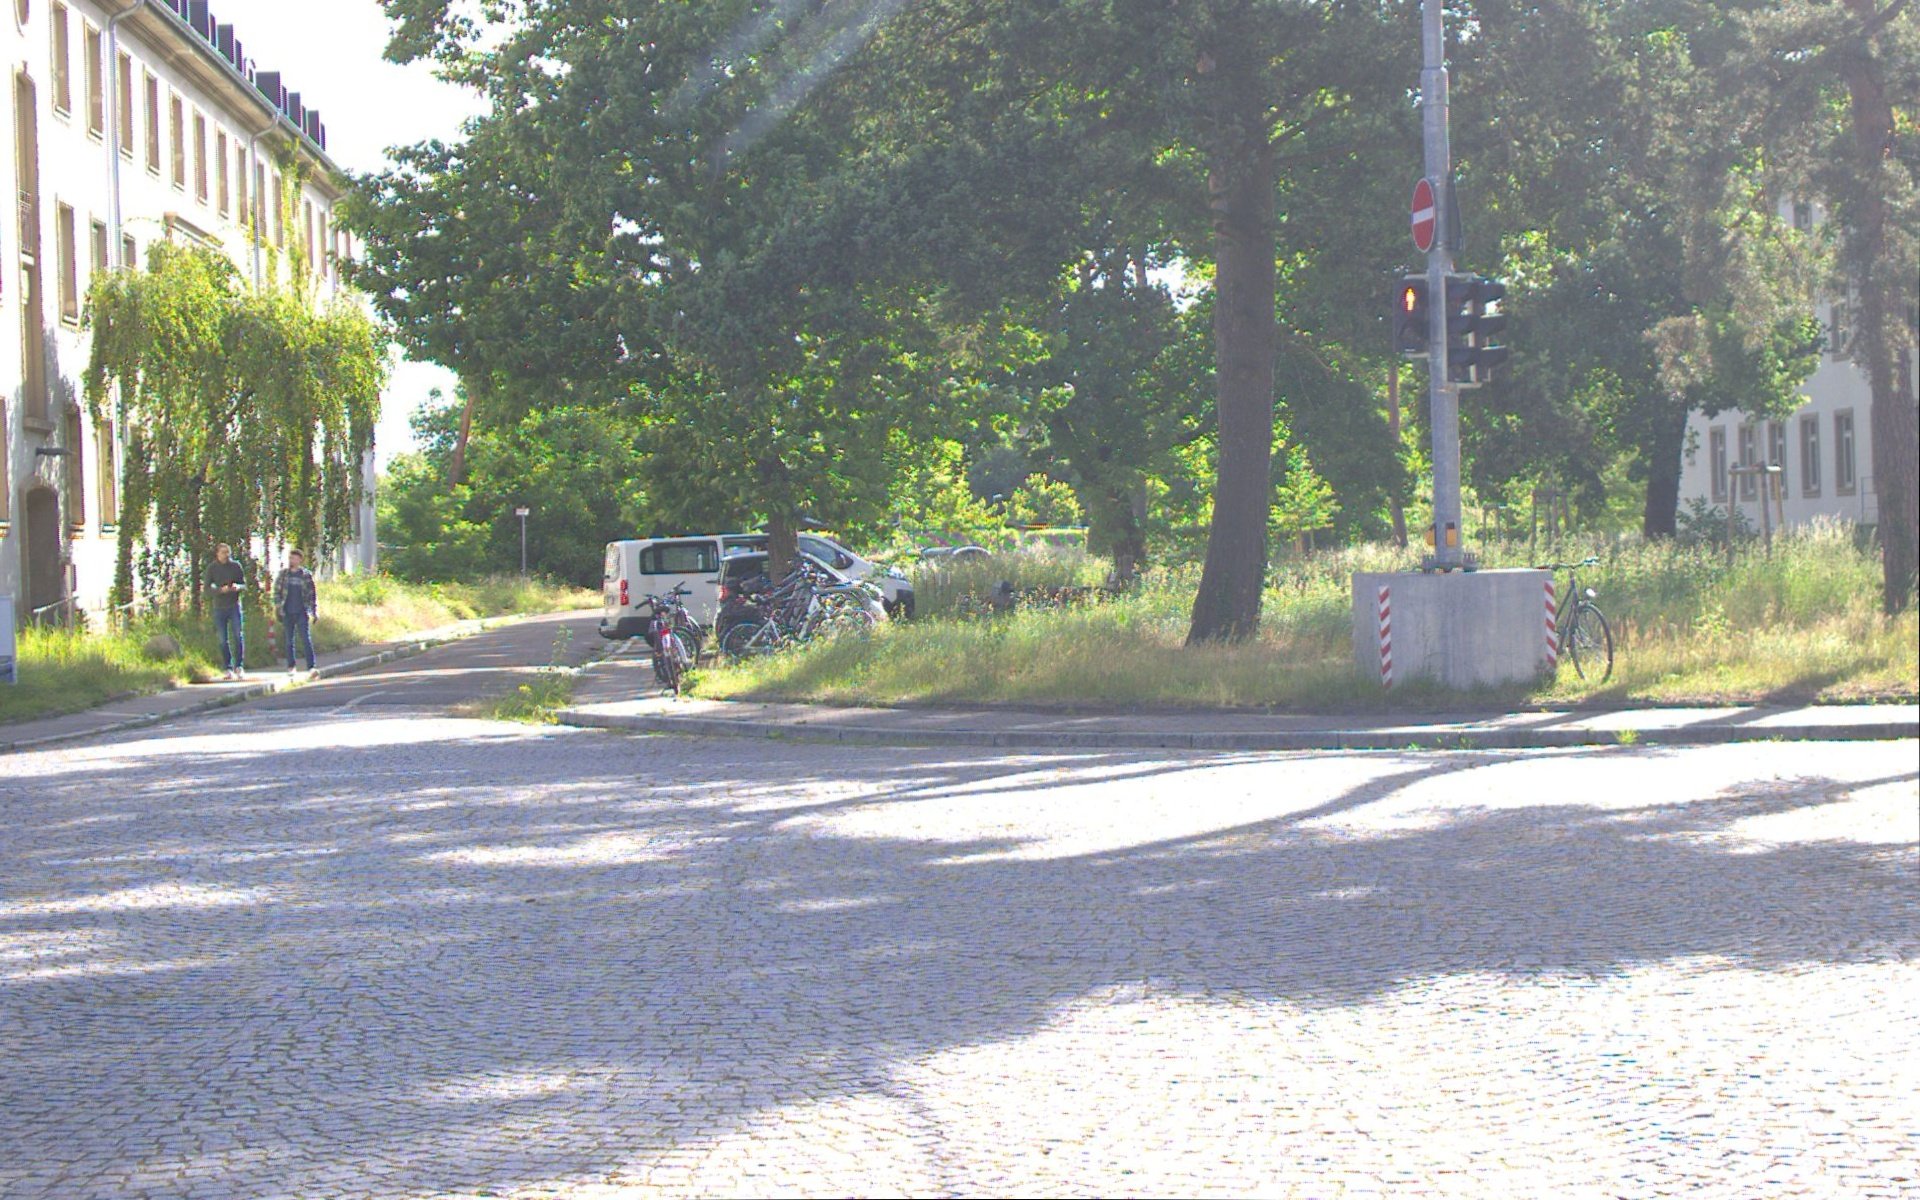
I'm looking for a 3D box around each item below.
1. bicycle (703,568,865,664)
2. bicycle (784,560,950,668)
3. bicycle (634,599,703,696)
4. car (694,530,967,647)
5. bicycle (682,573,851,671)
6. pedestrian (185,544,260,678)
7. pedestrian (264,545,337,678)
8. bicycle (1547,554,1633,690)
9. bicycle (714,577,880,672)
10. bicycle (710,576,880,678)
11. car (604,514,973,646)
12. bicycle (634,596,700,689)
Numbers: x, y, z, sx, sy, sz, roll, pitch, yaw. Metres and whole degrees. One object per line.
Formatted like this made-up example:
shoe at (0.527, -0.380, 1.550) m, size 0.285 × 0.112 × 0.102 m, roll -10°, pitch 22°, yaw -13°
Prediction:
bicycle at (-2.205, 0.193, 43.090) m, size 1.940 × 1.125 × 0.648 m, roll -2°, pitch 1°, yaw -8°
bicycle at (-1.130, 0.164, 41.530) m, size 1.940 × 1.231 × 0.485 m, roll -2°, pitch 1°, yaw -6°
bicycle at (-3.099, 0.489, 36.455) m, size 0.695 × 0.968 × 1.861 m, roll -1°, pitch 1°, yaw -5°
car at (-2.044, -0.197, 53.739) m, size 3.986 × 1.678 × 1.848 m, roll -2°, pitch 1°, yaw -11°
bicycle at (-2.358, 0.259, 41.986) m, size 1.941 × 1.125 × 0.648 m, roll -2°, pitch 1°, yaw -30°
pedestrian at (-10.181, 0.143, 47.456) m, size 0.812 × 1.811 × 0.555 m, roll -2°, pitch 1°, yaw 8°
pedestrian at (-9.178, 0.153, 47.886) m, size 0.767 × 1.811 × 0.682 m, roll -2°, pitch 1°, yaw 8°
bicycle at (5.159, 0.174, 28.197) m, size 0.466 × 1.076 × 1.174 m, roll -2°, pitch 0°, yaw 0°
bicycle at (-1.900, 0.280, 39.994) m, size 1.854 × 1.027 × 0.750 m, roll -2°, pitch 1°, yaw -6°
bicycle at (-1.967, 0.312, 40.788) m, size 1.940 × 1.125 × 0.750 m, roll -2°, pitch 1°, yaw -6°
car at (-2.938, -0.354, 58.140) m, size 5.929 × 2.007 × 2.476 m, roll -2°, pitch 1°, yaw -10°
bicycle at (-3.274, 0.462, 38.378) m, size 0.695 × 0.968 × 1.861 m, roll -1°, pitch 1°, yaw -5°
